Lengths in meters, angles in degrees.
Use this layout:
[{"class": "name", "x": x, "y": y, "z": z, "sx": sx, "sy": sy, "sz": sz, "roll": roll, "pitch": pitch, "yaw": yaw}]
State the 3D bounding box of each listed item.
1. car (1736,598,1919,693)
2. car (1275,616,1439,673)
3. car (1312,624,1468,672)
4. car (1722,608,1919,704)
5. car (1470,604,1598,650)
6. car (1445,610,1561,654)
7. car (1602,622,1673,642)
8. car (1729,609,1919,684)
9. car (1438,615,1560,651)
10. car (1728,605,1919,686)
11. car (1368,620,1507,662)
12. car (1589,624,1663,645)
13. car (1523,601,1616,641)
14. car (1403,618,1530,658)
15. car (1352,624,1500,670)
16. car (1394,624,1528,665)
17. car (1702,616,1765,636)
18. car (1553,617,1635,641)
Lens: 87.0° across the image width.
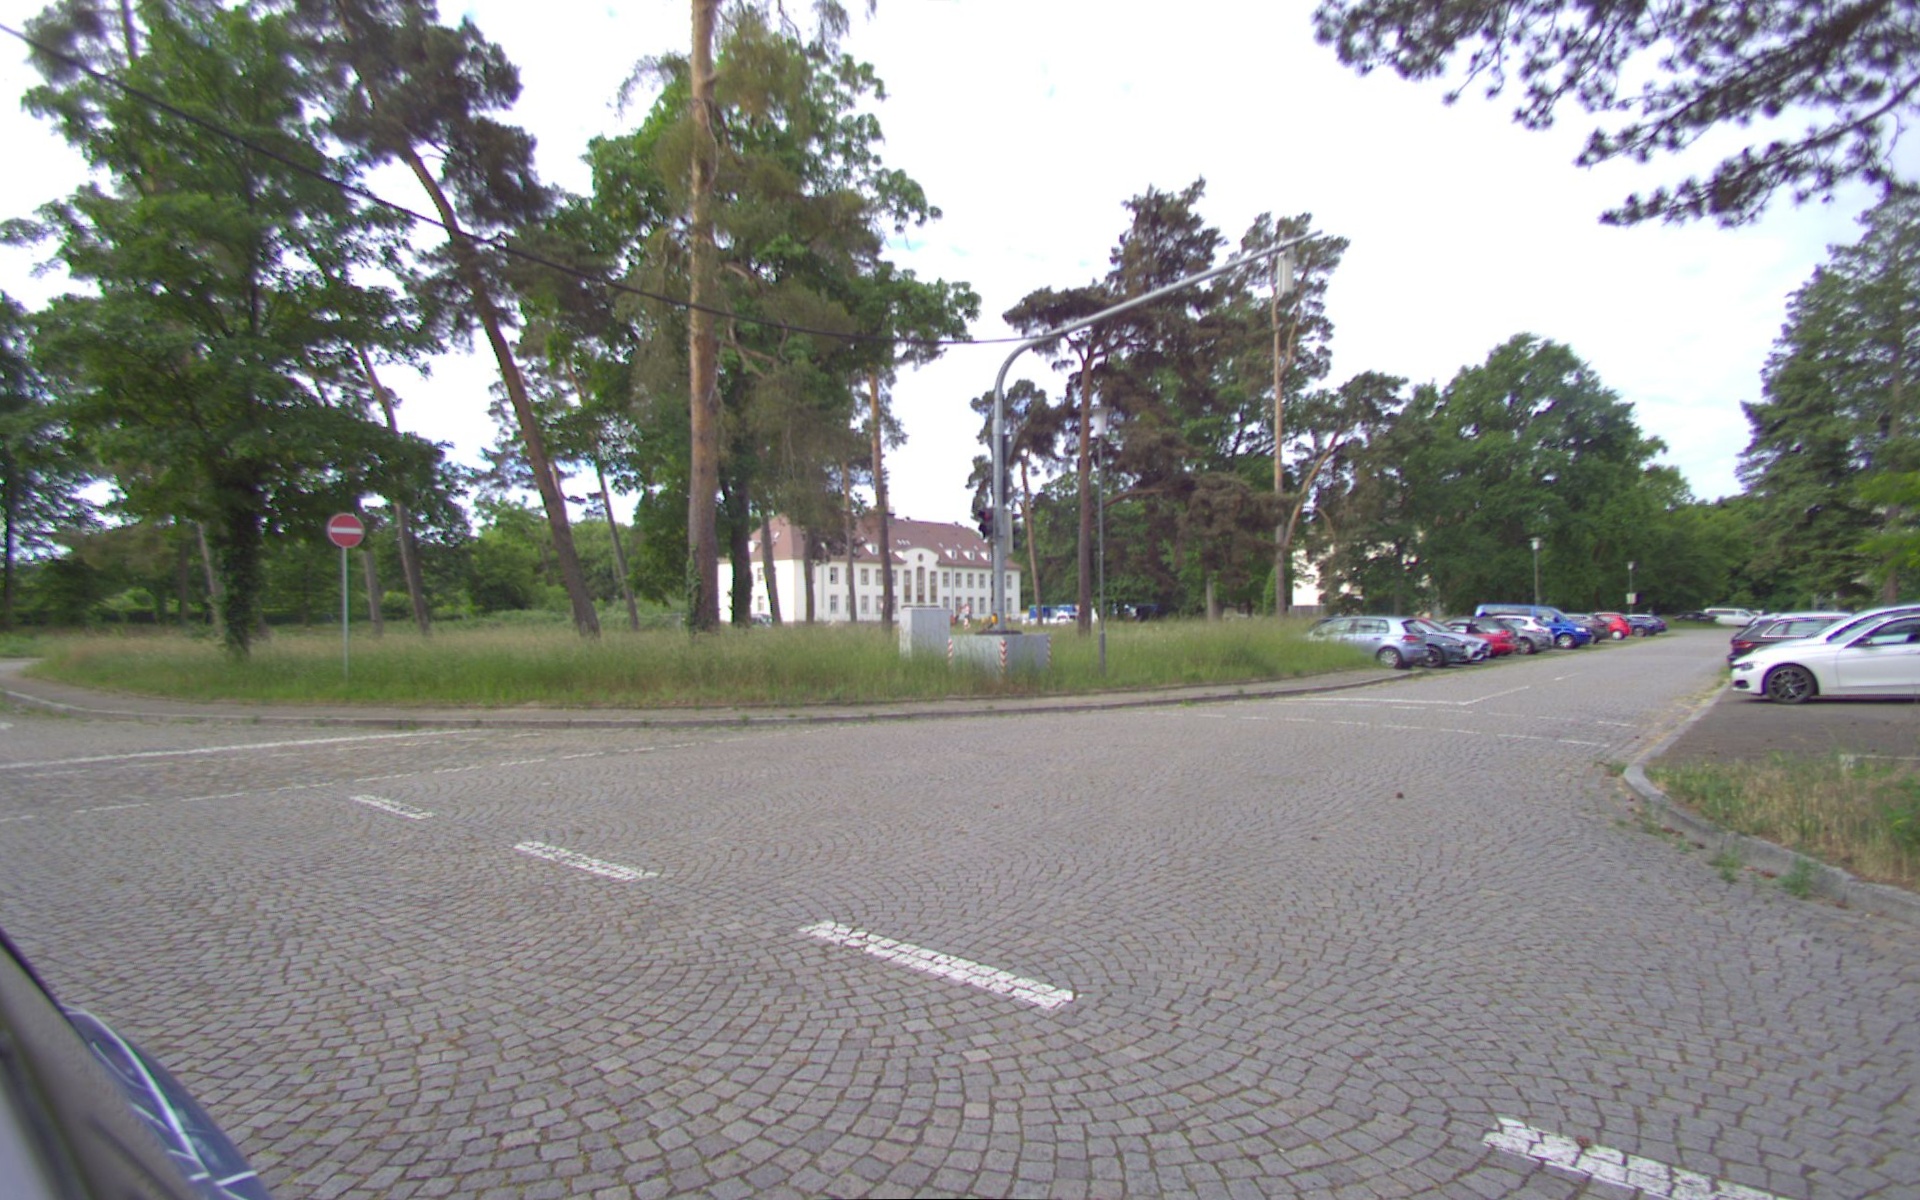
[{"class": "car", "x": 16.759, "y": 0.796, "z": 18.197, "sx": 4.319, "sy": 1.596, "sz": 1.804, "roll": -5, "pitch": -3, "yaw": 37}, {"class": "car", "x": 11.196, "y": 1.229, "z": 28.684, "sx": 3.996, "sy": 1.483, "sz": 1.668, "roll": -2, "pitch": -2, "yaw": 40}, {"class": "car", "x": 12.915, "y": 1.415, "z": 30.532, "sx": 3.998, "sy": 1.364, "sz": 1.667, "roll": -2, "pitch": -2, "yaw": 42}, {"class": "car", "x": 15.184, "y": 0.867, "z": 16.171, "sx": 4.733, "sy": 1.453, "sz": 1.793, "roll": -4, "pitch": -3, "yaw": 38}, {"class": "car", "x": 26.370, "y": 1.287, "z": 46.565, "sx": 4.791, "sy": 1.996, "sz": 1.971, "roll": -3, "pitch": -3, "yaw": 41}, {"class": "car", "x": 22.888, "y": 1.367, "z": 42.715, "sx": 3.999, "sy": 1.727, "sz": 1.667, "roll": -3, "pitch": -3, "yaw": 43}, {"class": "car", "x": 48.186, "y": 2.301, "z": 72.022, "sx": 3.998, "sy": 1.364, "sz": 1.667, "roll": -2, "pitch": -2, "yaw": 42}, {"class": "car", "x": 19.871, "y": 1.010, "z": 22.513, "sx": 4.319, "sy": 1.578, "sz": 1.776, "roll": -2, "pitch": -2, "yaw": 37}, {"class": "car", "x": 21.322, "y": 1.308, "z": 40.128, "sx": 3.998, "sy": 1.364, "sz": 1.667, "roll": -2, "pitch": -2, "yaw": 42}, {"class": "car", "x": 18.347, "y": 0.905, "z": 20.518, "sx": 4.319, "sy": 1.513, "sz": 1.837, "roll": -5, "pitch": -3, "yaw": 37}, {"class": "car", "x": 16.315, "y": 1.381, "z": 34.669, "sx": 3.998, "sy": 1.364, "sz": 1.667, "roll": -2, "pitch": -2, "yaw": 42}, {"class": "car", "x": 45.239, "y": 2.354, "z": 68.823, "sx": 3.998, "sy": 1.364, "sz": 1.667, "roll": -2, "pitch": -2, "yaw": 42}, {"class": "car", "x": 32.074, "y": 1.138, "z": 53.326, "sx": 3.994, "sy": 2.029, "sz": 1.847, "roll": -2, "pitch": -1, "yaw": 37}, {"class": "car", "x": 19.182, "y": 1.429, "z": 38.415, "sx": 3.998, "sy": 1.449, "sz": 1.667, "roll": -2, "pitch": -2, "yaw": 42}, {"class": "car", "x": 14.882, "y": 1.484, "z": 32.450, "sx": 3.998, "sy": 1.364, "sz": 1.667, "roll": -2, "pitch": -2, "yaw": 42}, {"class": "car", "x": 17.815, "y": 1.555, "z": 36.081, "sx": 3.998, "sy": 1.364, "sz": 1.667, "roll": -2, "pitch": -2, "yaw": 42}, {"class": "car", "x": 80.818, "y": 2.697, "z": 105.750, "sx": 5.159, "sy": 2.029, "sz": 1.973, "roll": -2, "pitch": -2, "yaw": 40}, {"class": "car", "x": 38.354, "y": 1.756, "z": 61.276, "sx": 3.998, "sy": 1.364, "sz": 1.667, "roll": -2, "pitch": -2, "yaw": 42}]
